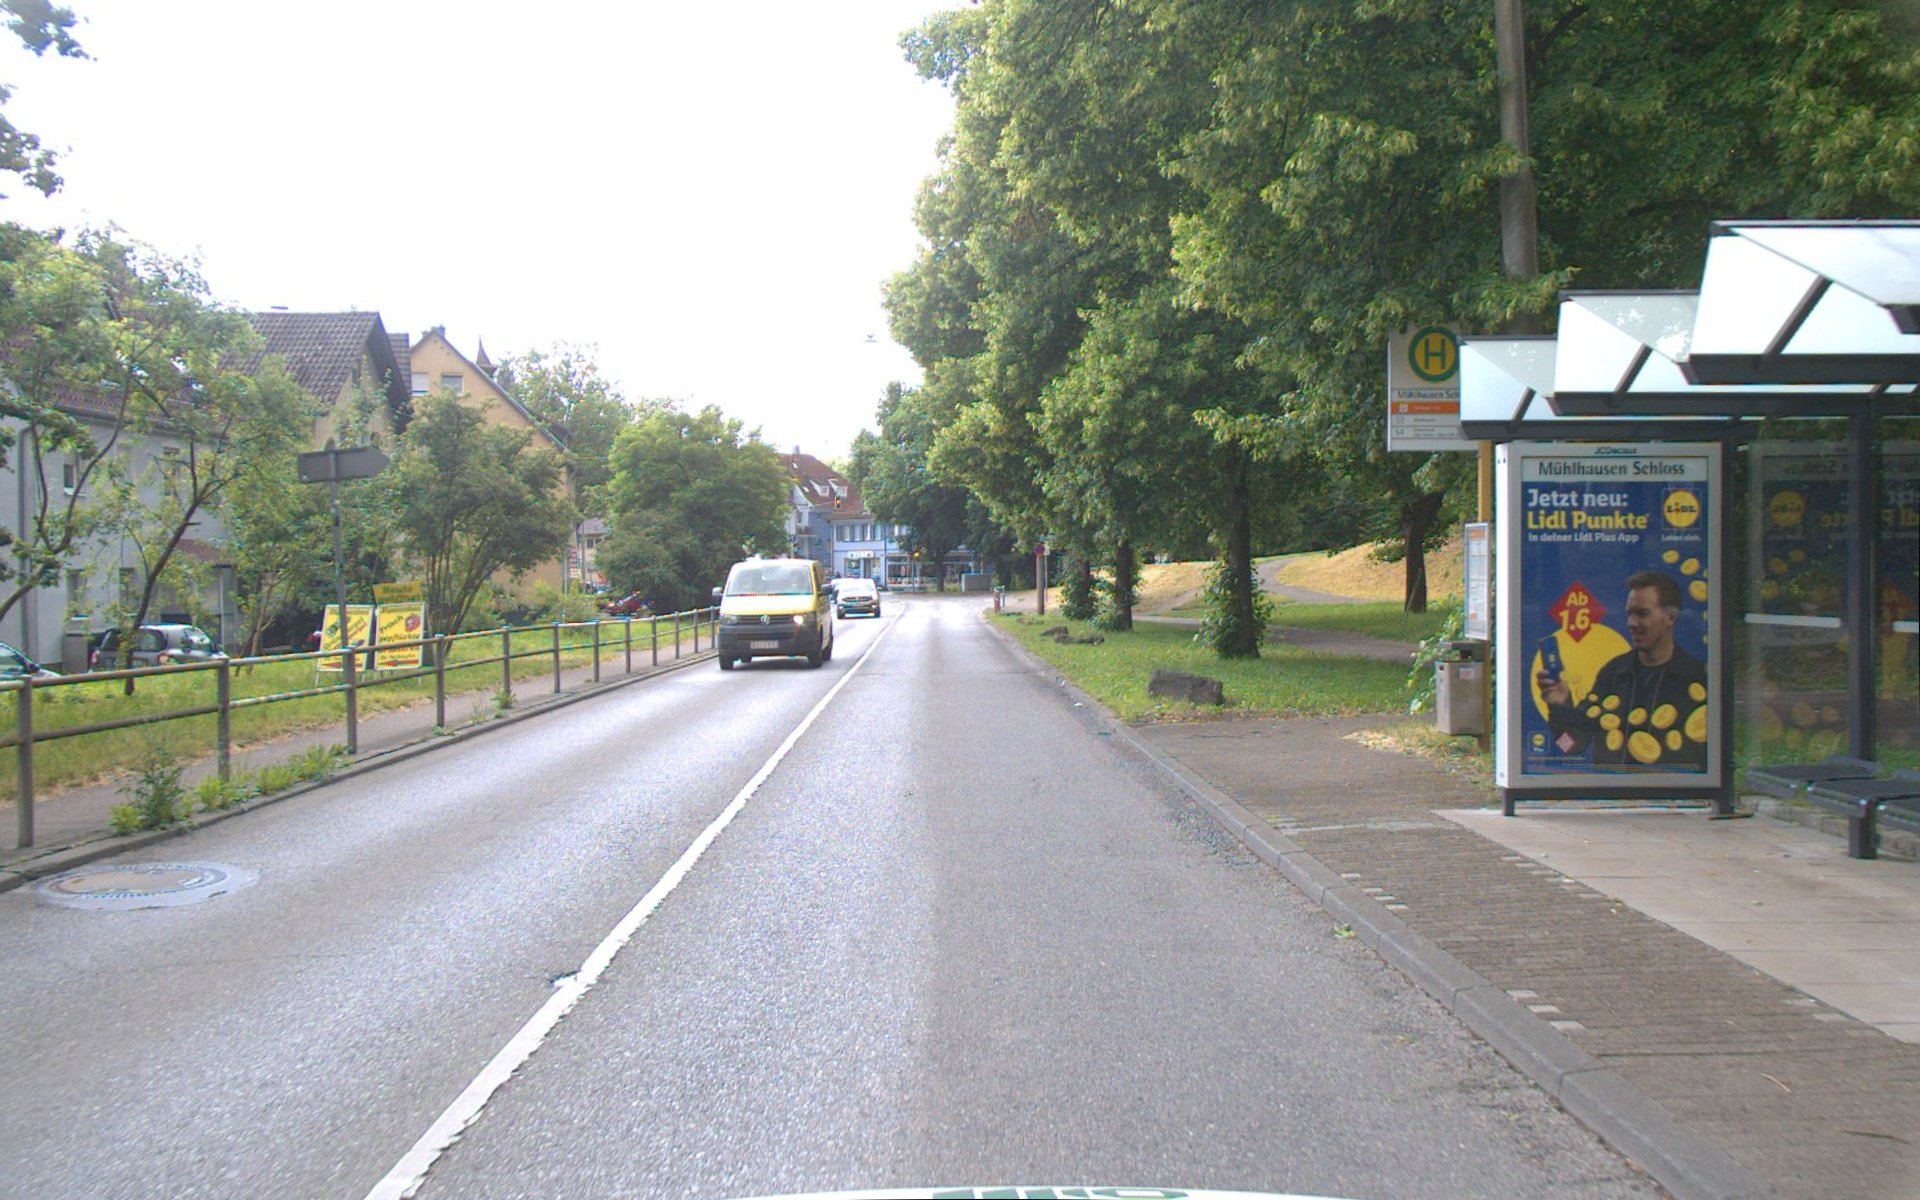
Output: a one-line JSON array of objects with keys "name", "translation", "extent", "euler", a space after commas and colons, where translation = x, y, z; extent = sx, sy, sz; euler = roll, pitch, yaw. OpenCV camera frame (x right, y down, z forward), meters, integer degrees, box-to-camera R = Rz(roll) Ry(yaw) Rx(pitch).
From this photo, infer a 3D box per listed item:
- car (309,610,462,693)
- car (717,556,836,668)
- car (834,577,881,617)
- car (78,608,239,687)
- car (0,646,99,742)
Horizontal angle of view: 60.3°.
[{"name": "car", "translation": [-13.511, 1.164, 39.152], "extent": [1.880, 1.724, 4.003], "euler": [-2, 1, 5]}, {"name": "car", "translation": [-3.394, 0.196, 31.402], "extent": [1.808, 1.964, 4.768], "euler": [0, 0, -1]}, {"name": "car", "translation": [-4.201, -0.131, 68.021], "extent": [1.670, 1.538, 3.999], "euler": [-2, 1, -1]}, {"name": "car", "translation": [-14.600, 0.841, 30.246], "extent": [1.520, 1.300, 2.555], "euler": [-2, 0, 5]}, {"name": "car", "translation": [-14.779, 1.430, 24.237], "extent": [1.951, 1.299, 4.003], "euler": [-2, 1, 5]}]
